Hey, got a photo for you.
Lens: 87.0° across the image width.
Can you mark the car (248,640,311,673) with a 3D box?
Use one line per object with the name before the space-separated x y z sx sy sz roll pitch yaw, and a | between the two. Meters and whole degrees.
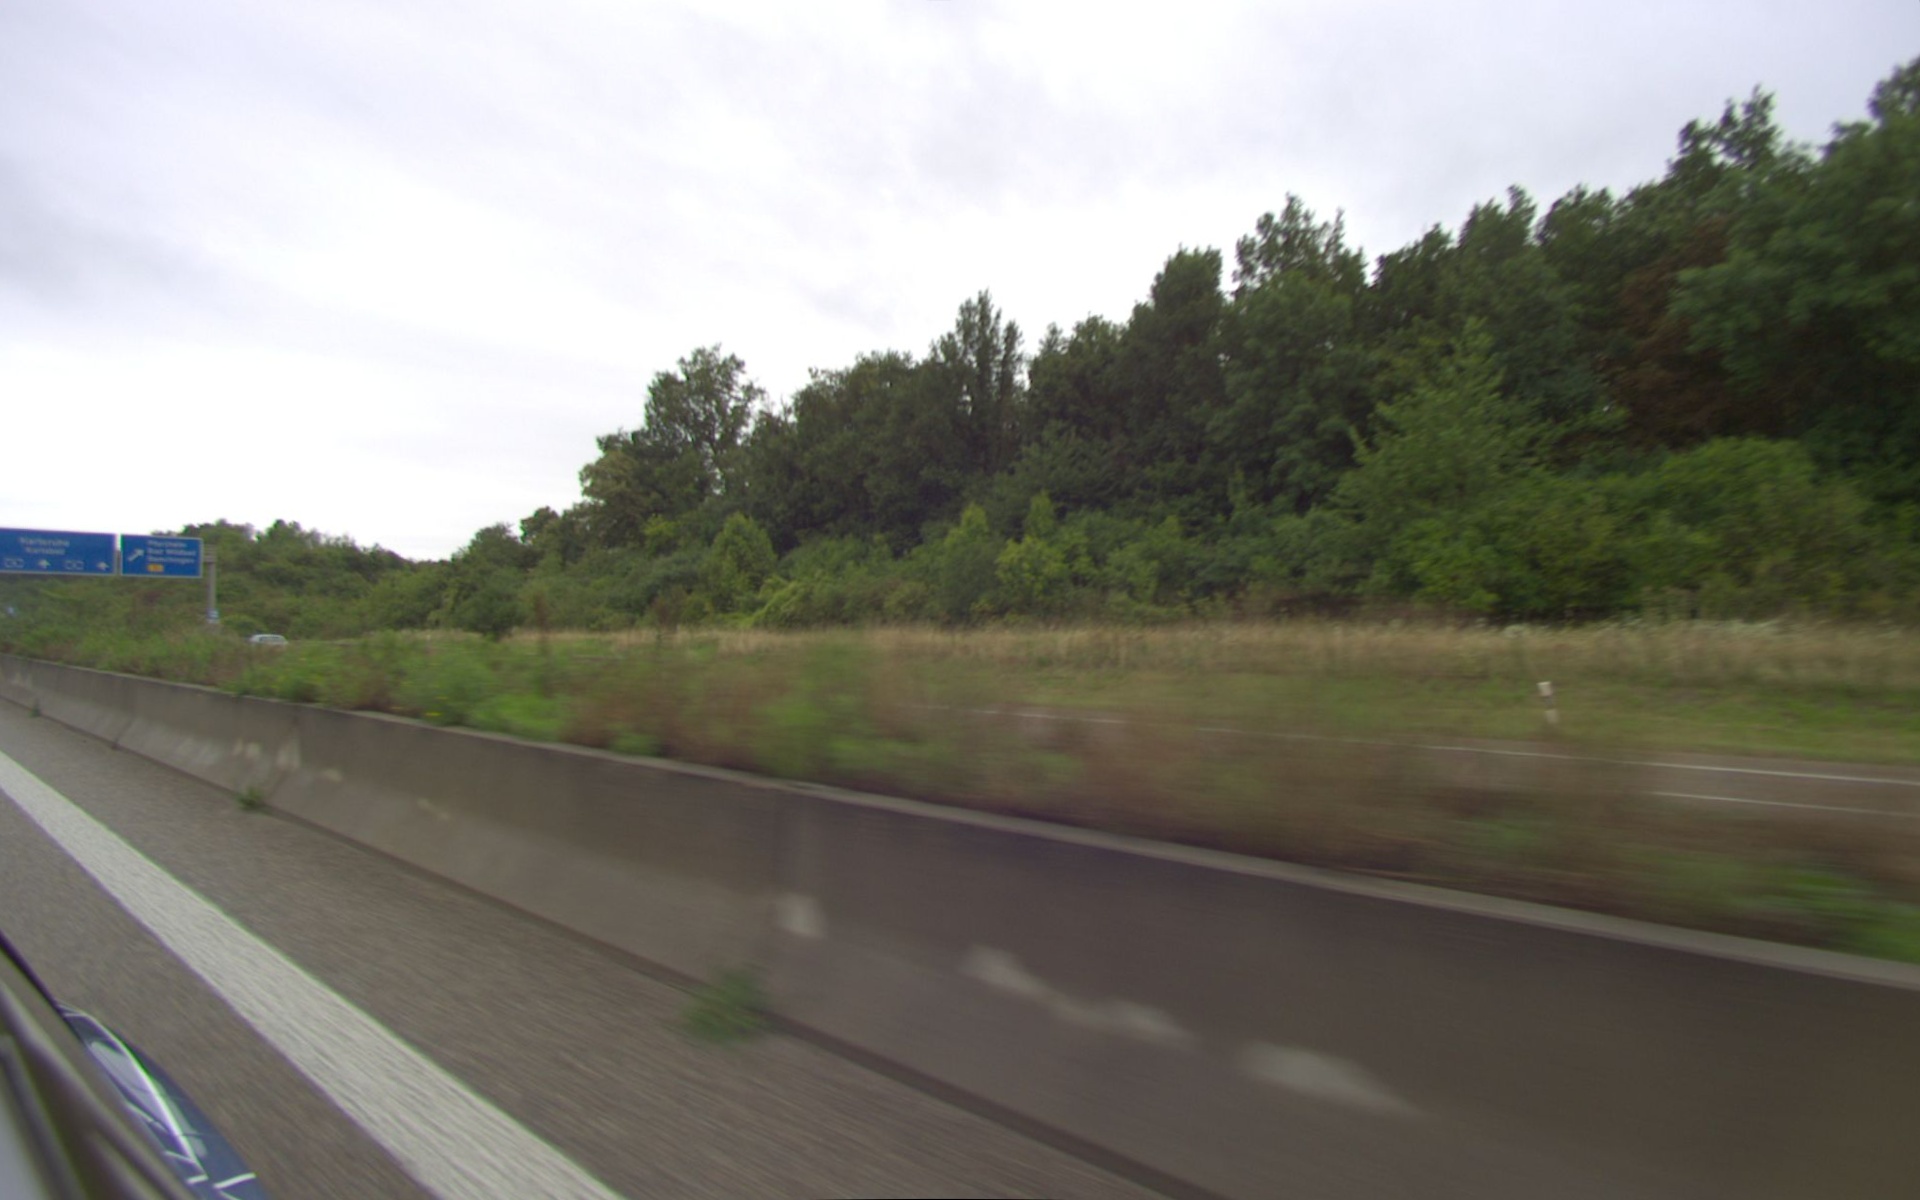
car | -32.491 2.668 48.282 3.474 1.497 1.642 -1 -3 41
